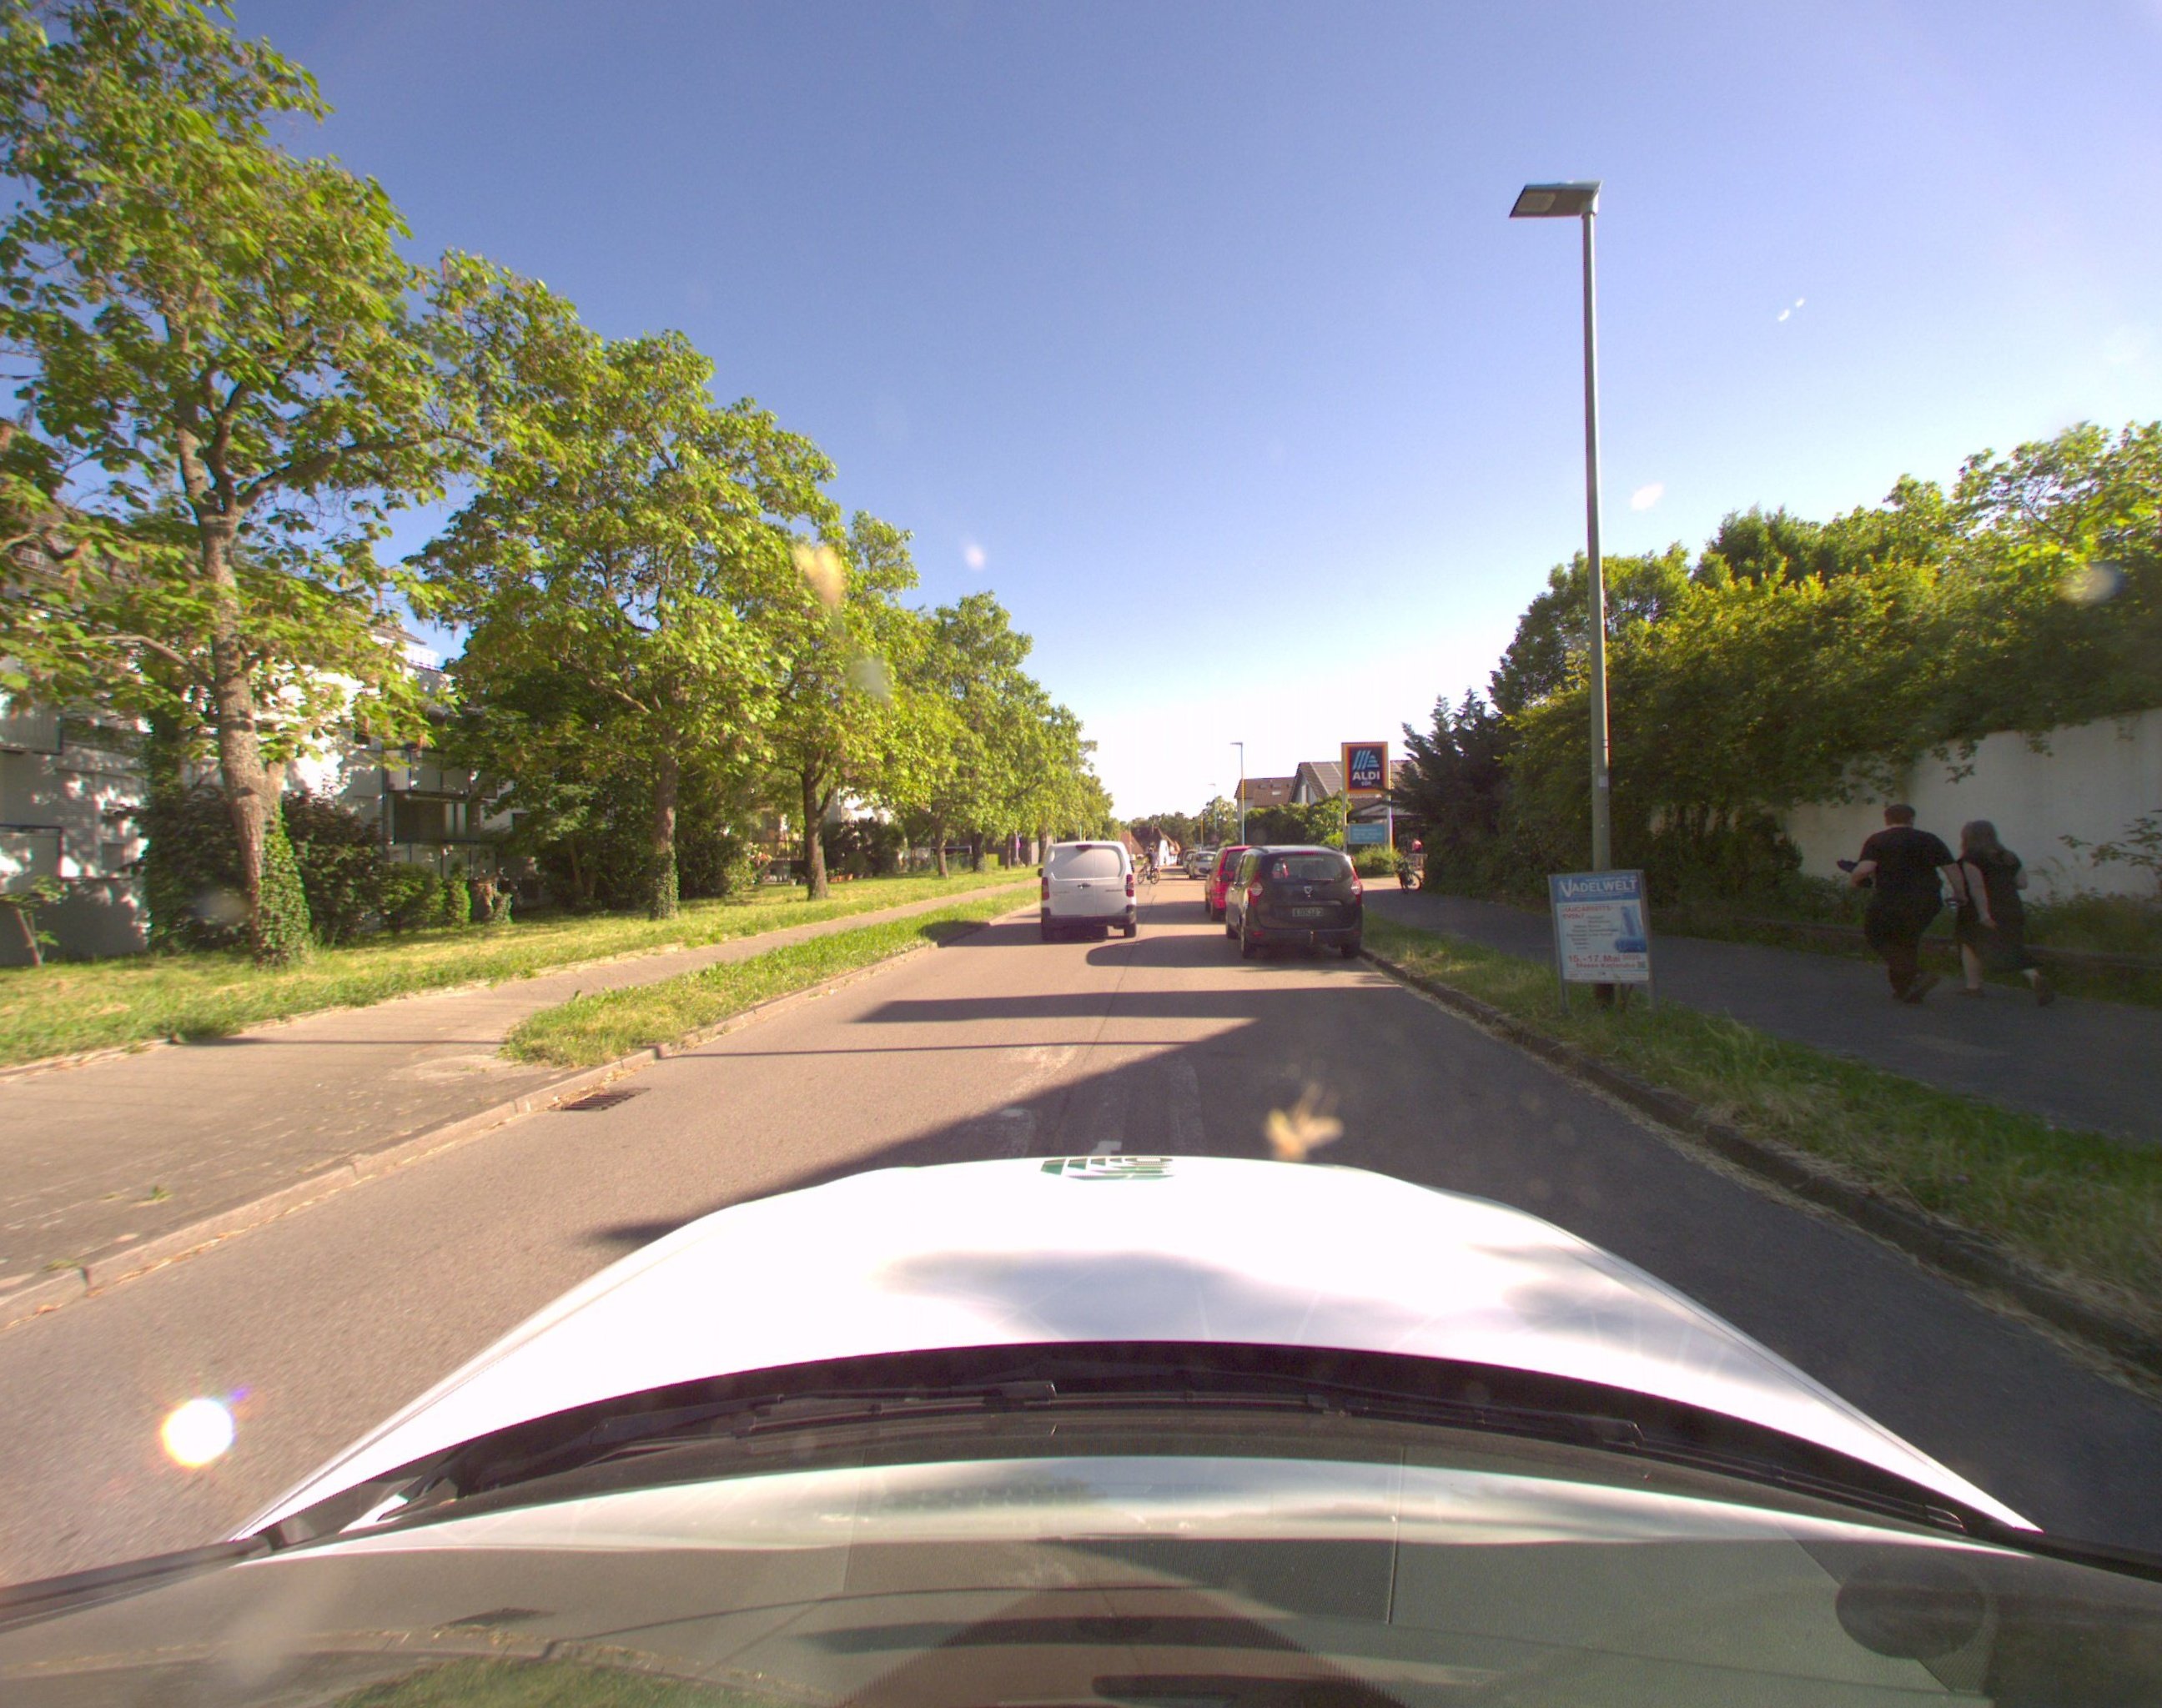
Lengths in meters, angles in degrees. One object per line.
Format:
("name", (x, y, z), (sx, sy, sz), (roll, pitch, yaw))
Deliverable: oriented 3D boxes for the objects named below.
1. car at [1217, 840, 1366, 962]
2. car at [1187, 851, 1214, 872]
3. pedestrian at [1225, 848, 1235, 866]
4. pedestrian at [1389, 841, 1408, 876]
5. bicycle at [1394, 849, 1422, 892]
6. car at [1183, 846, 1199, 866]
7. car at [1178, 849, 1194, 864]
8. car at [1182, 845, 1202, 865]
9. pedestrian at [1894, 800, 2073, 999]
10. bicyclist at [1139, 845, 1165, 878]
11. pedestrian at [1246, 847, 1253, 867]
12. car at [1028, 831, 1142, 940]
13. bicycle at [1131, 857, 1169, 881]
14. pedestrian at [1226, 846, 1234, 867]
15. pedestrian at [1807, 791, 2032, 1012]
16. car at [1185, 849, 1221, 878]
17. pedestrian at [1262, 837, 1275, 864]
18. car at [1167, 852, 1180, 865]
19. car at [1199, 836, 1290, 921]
("car", (3.256, 0.637, 13.383), (1.716, 1.656, 4.360), (-1, 0, 6))
("car", (8.481, 0.490, 58.176), (1.798, 1.443, 4.371), (-1, 0, 7))
("pedestrian", (15.726, 0.333, 85.877), (0.791, 1.861, 0.874), (-1, 0, -1))
("pedestrian", (14.918, 0.200, 38.268), (0.685, 1.631, 0.781), (-1, 0, 27))
("bicycle", (9.883, 0.478, 24.595), (0.714, 1.221, 1.906), (-3, -2, 22))
("car", (14.722, 0.340, 109.304), (1.857, 2.562, 4.774), (1, -1, 5))
("car", (13.153, 0.310, 102.163), (1.795, 1.785, 4.005), (1, -1, 5))
("car", (10.278, 0.105, 75.409), (1.715, 1.837, 4.008), (-1, 0, 7))
("pedestrian", (7.798, 0.383, 7.082), (0.570, 1.609, 0.793), (-3, -2, 3))
("bicyclist", (3.516, 0.366, 40.306), (0.910, 1.584, 0.958), (0, -1, -27))
("pedestrian", (13.814, 0.224, 66.784), (0.563, 1.637, 0.548), (-1, 0, 11))
("car", (-0.057, 0.552, 16.564), (1.989, 1.881, 4.283), (-1, 0, -4))
("bicycle", (3.397, 0.726, 40.298), (0.791, 1.138, 2.260), (-2, -1, -25))
("pedestrian", (11.670, 0.191, 63.859), (0.563, 1.637, 0.548), (-1, 0, 11))
("pedestrian", (7.070, 0.386, 6.937), (0.800, 1.717, 0.984), (-3, -2, 3))
("car", (6.968, 0.537, 46.842), (1.673, 1.599, 4.031), (-1, 0, 3))
("pedestrian", (12.623, -0.223, 54.932), (0.792, 1.782, 0.812), (-1, 0, 14))
("car", (14.586, 0.708, 128.544), (1.795, 2.069, 4.005), (1, -1, 5))
("car", (3.897, 0.528, 20.072), (1.830, 1.805, 4.663), (-1, 0, 7))
